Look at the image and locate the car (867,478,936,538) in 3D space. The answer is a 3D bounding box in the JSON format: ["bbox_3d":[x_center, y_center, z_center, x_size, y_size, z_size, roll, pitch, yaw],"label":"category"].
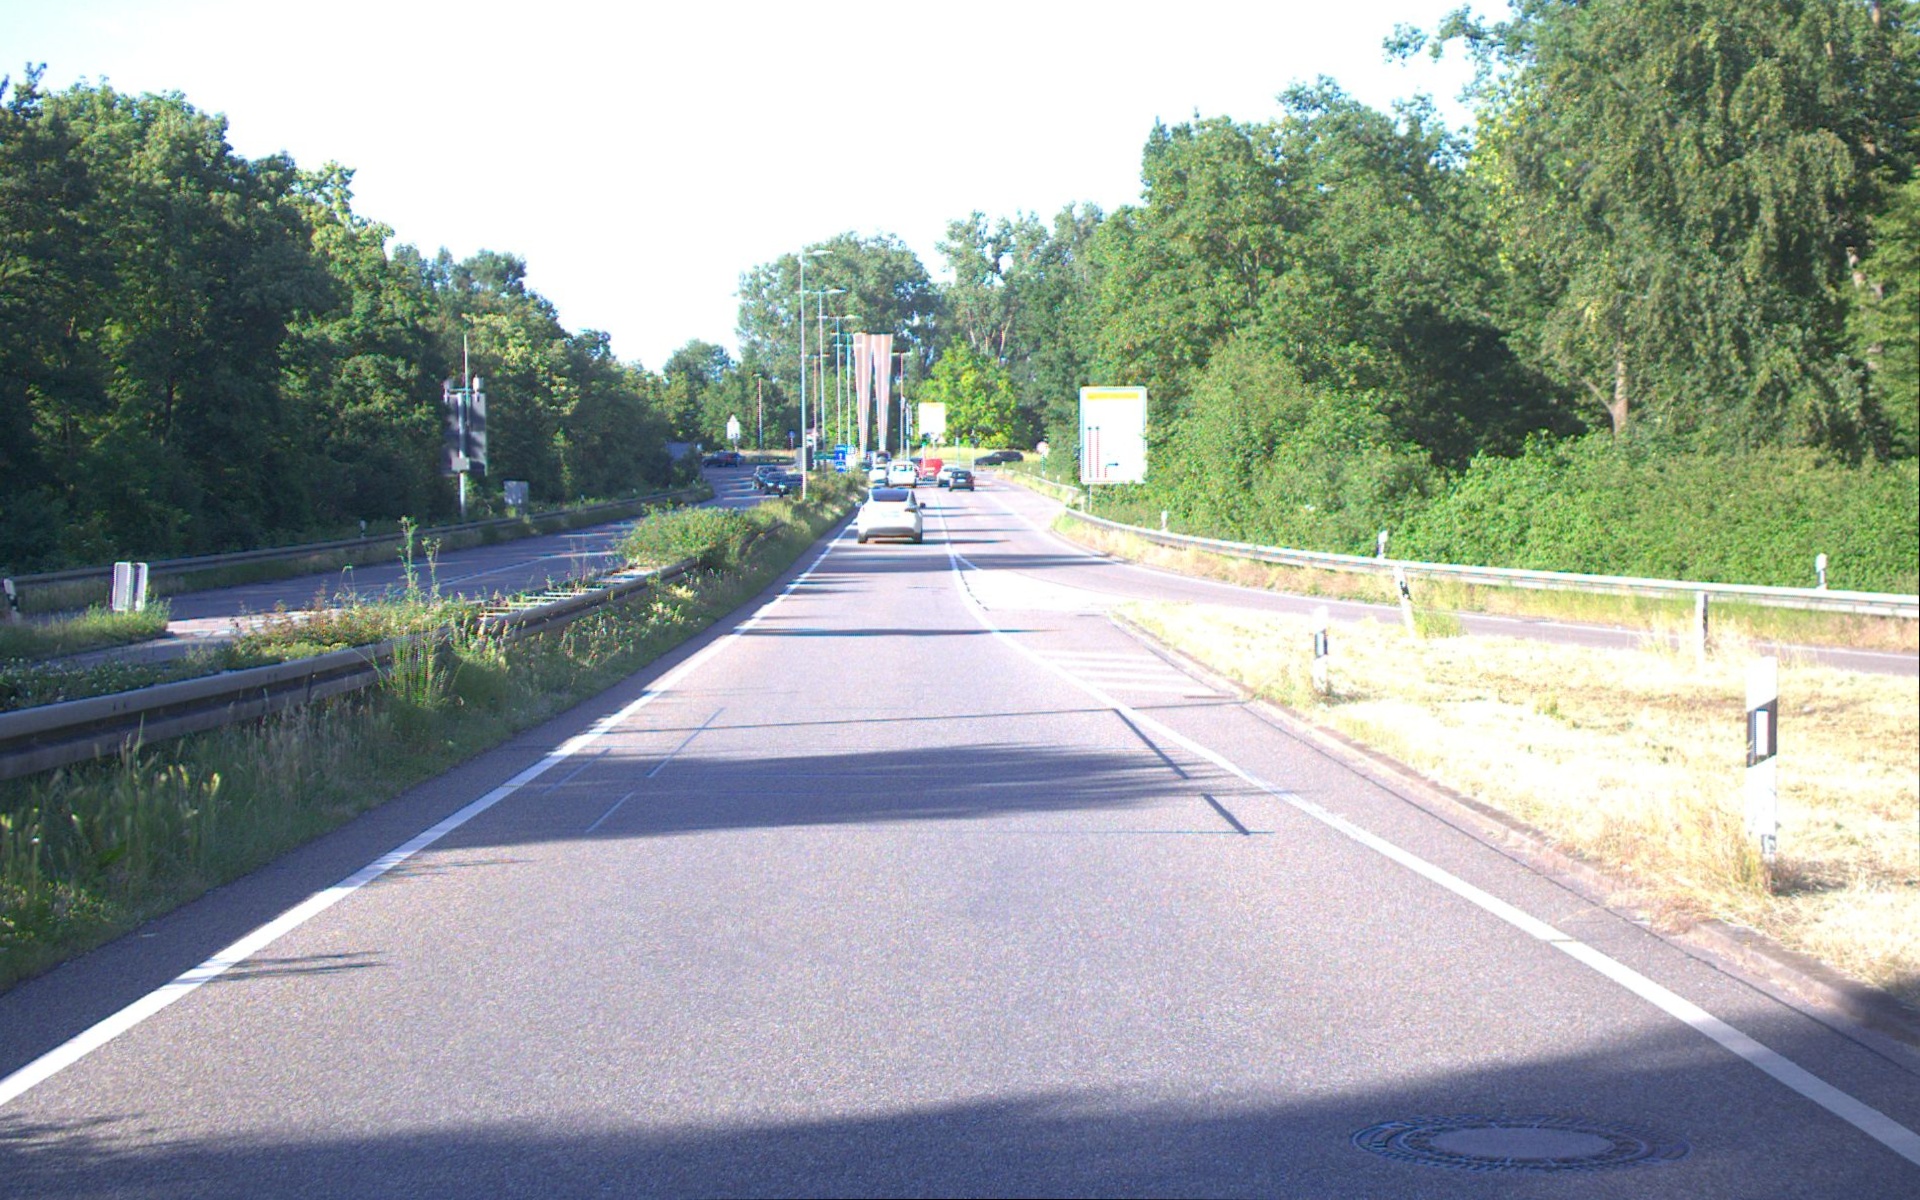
[{"bbox_3d":[-1.752,-2.781,102.931,1.993,1.634,4.129,-1,3,-1],"label":"car"}]

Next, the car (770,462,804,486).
[{"bbox_3d":[-10.934,-7.961,217.129,1.781,1.398,4.553,-1,3,1],"label":"car"}]

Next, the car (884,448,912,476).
[{"bbox_3d":[-4.630,-10.271,256.200,1.993,2.006,4.001,1,2,-1],"label":"car"}]

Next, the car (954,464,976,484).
[{"bbox_3d":[0.310,-8.408,230.100,1.388,1.276,2.987,2,1,-1],"label":"car"}]

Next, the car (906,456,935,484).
[{"bbox_3d":[-2.834,-9.320,245.649,1.993,1.873,4.250,-1,3,0],"label":"car"}]
